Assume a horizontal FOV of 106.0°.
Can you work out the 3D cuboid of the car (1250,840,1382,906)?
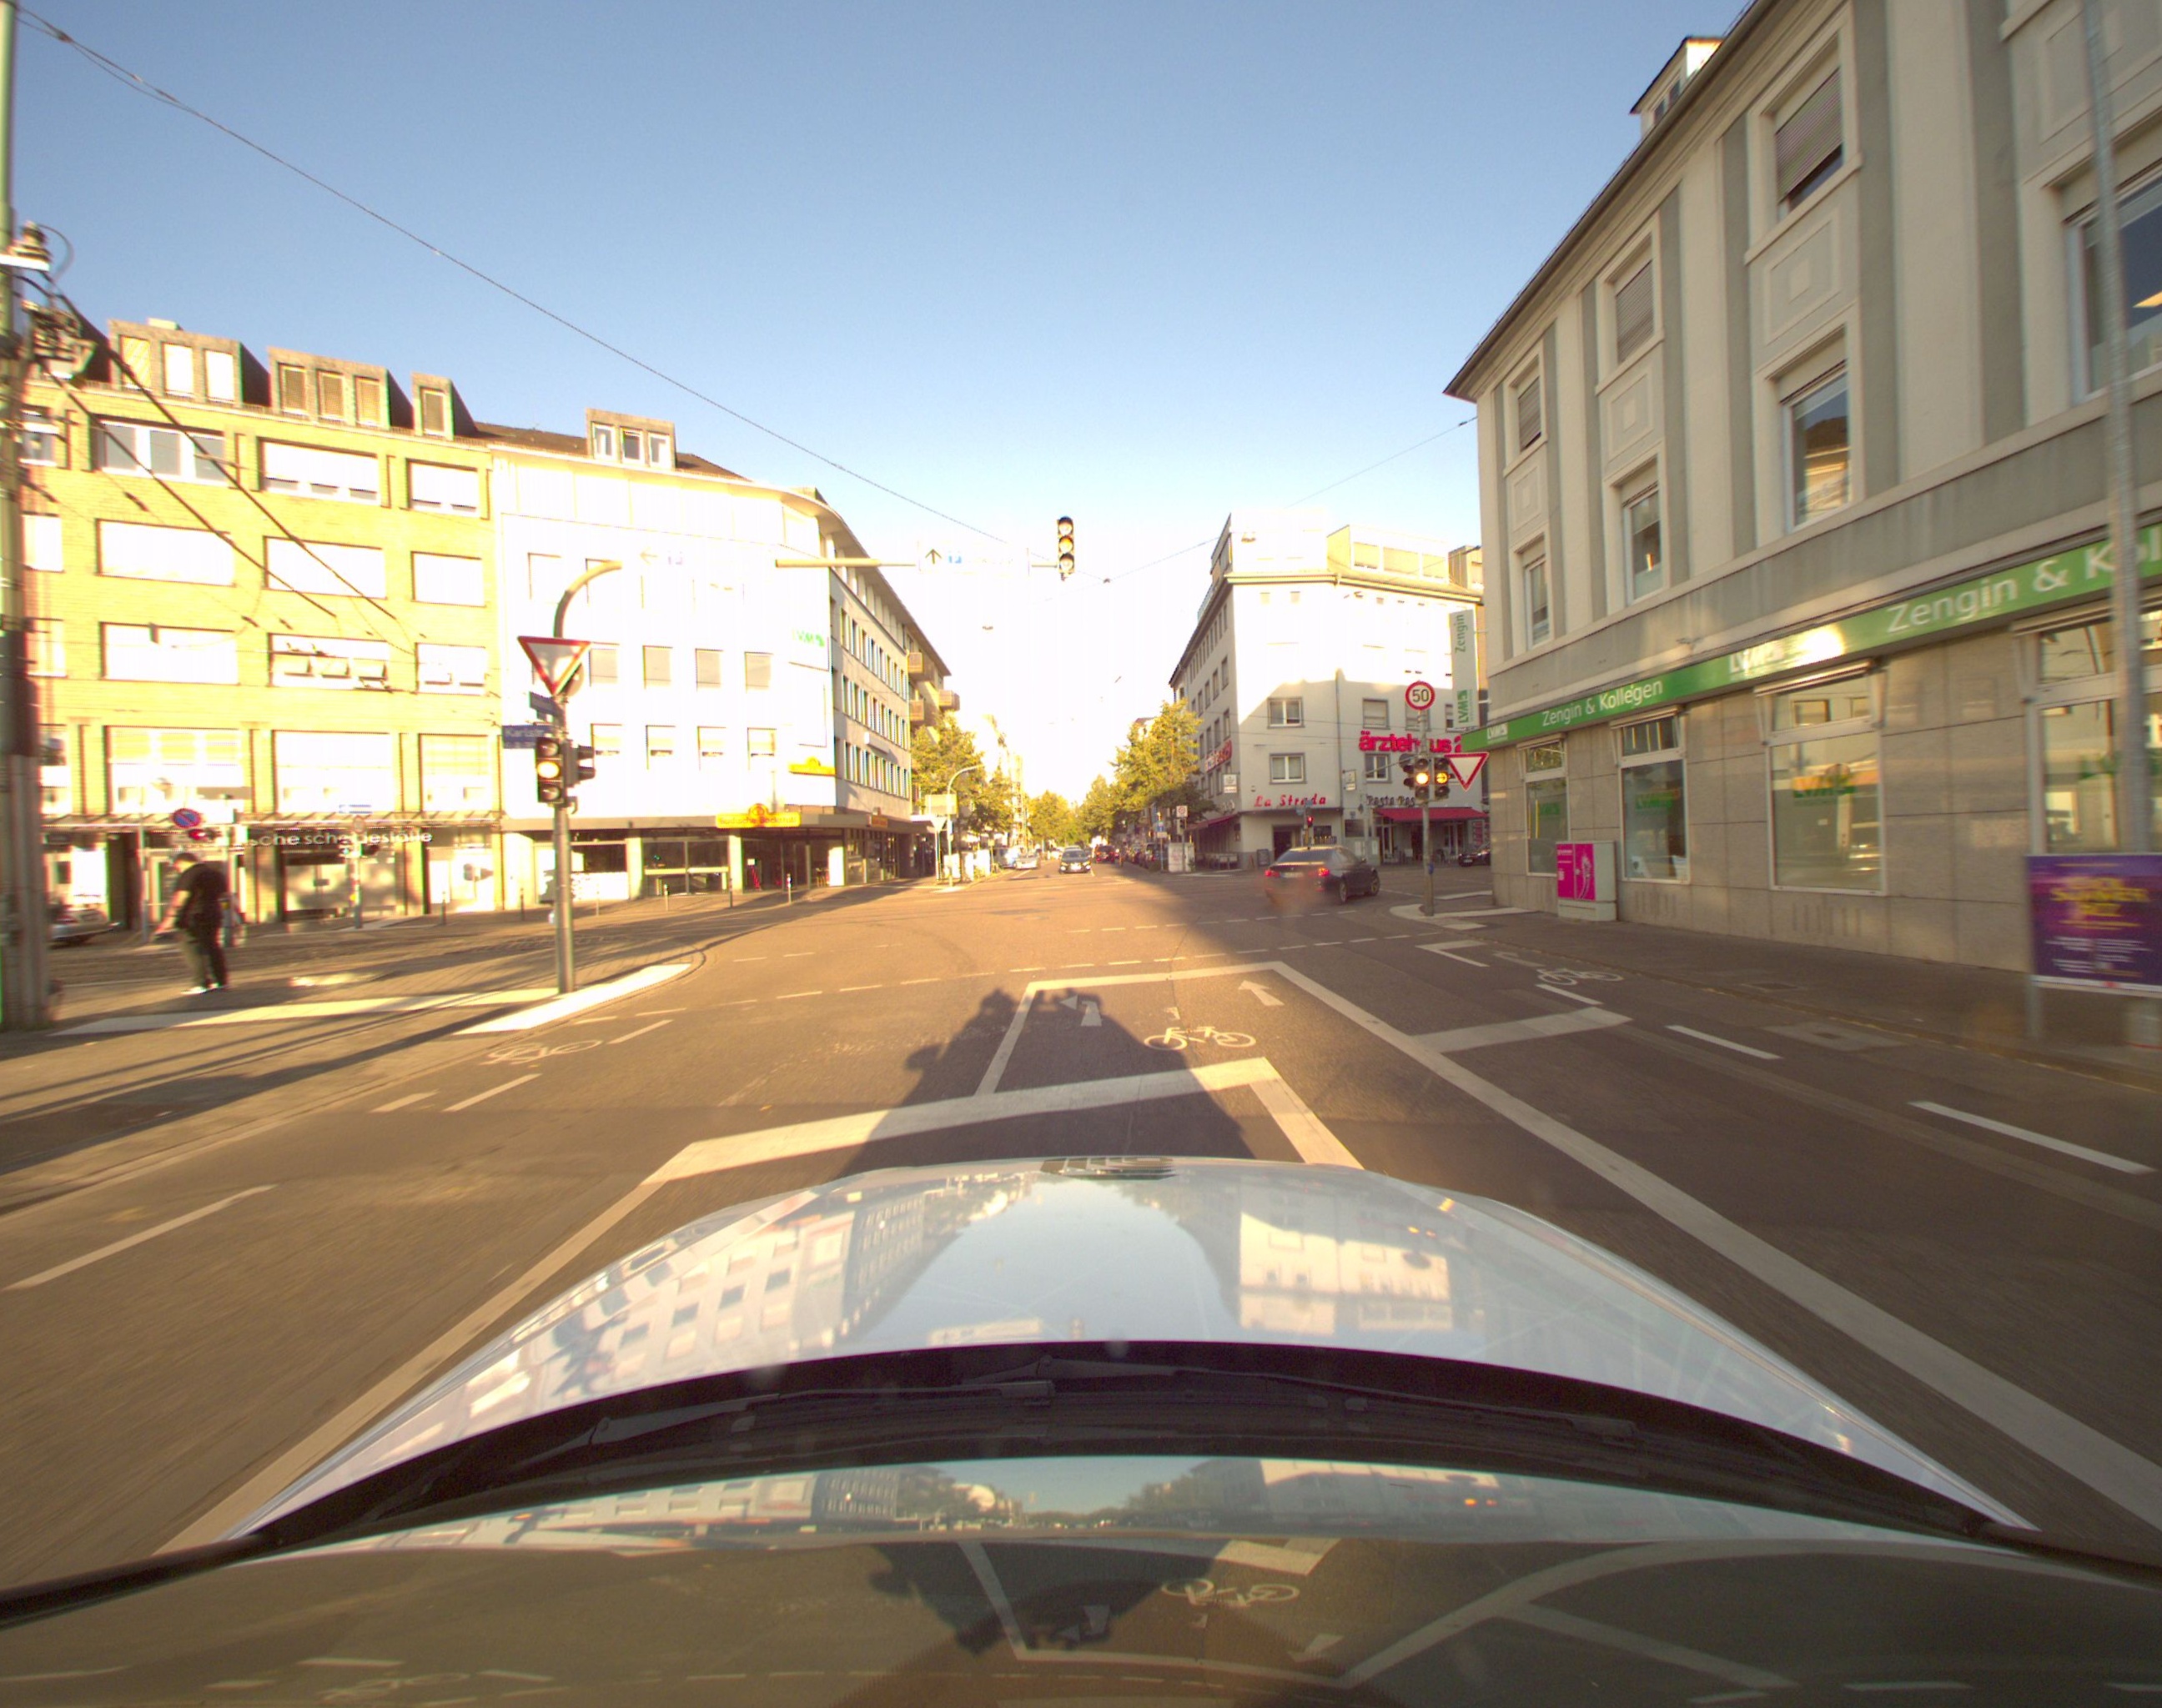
[{"bbox_3d":[6.132,0.408,20.857,1.974,1.420,4.539,-1,1,33],"label":"car"}]

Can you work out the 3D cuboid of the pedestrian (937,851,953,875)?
[{"bbox_3d":[-9.578,0.609,57.367,0.760,1.676,0.747,-2,0,42],"label":"pedestrian"}]

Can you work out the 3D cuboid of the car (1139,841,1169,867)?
[{"bbox_3d":[5.309,-0.015,59.773,1.651,1.778,4.007,-1,1,-3],"label":"car"}]

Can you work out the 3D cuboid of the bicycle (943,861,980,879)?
[{"bbox_3d":[-6.739,0.904,45.874,2.005,0.992,0.490,-1,-1,-5],"label":"bicycle"}]

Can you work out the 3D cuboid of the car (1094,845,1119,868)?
[{"bbox_3d":[1.838,0.190,60.344,1.718,1.549,4.465,-3,-1,0],"label":"car"}]

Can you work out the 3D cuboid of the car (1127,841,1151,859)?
[{"bbox_3d":[5.745,-0.387,81.277,1.878,1.754,5.056,-1,0,-1],"label":"car"}]

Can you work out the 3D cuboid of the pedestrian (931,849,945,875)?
[{"bbox_3d":[-10.217,0.553,58.102,0.738,1.819,0.814,-3,1,2],"label":"pedestrian"}]

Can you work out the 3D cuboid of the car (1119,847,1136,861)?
[{"bbox_3d":[5.555,0.016,96.702,1.806,1.668,4.206,-1,0,0],"label":"car"}]

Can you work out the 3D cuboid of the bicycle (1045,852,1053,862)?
[{"bbox_3d":[-4.525,0.486,114.605,0.844,1.350,3.177,-2,0,-8],"label":"bicycle"}]

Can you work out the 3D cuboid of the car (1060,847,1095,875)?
[{"bbox_3d":[-0.283,0.373,50.355,1.953,1.547,4.506,-2,1,-2],"label":"car"}]

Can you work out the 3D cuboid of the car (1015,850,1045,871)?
[{"bbox_3d":[-4.067,0.536,65.267,1.987,1.511,4.509,-5,0,0],"label":"car"}]

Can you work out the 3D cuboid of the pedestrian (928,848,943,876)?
[{"bbox_3d":[-10.071,0.552,56.437,0.763,1.847,0.745,-2,1,9],"label":"pedestrian"}]

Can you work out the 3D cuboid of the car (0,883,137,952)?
[{"bbox_3d":[-28.012,1.685,21.049,4.302,1.575,1.788,-2,1,-20],"label":"car"}]

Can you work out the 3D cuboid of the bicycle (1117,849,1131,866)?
[{"bbox_3d":[3.245,0.282,61.371,0.779,1.204,2.019,-3,0,-2],"label":"bicycle"}]

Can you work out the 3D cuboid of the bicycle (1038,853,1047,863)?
[{"bbox_3d":[-5.411,0.540,114.459,0.892,1.395,3.157,-2,0,-8],"label":"bicycle"}]

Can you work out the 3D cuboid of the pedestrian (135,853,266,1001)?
[{"bbox_3d":[-11.227,0.886,10.429,0.909,1.784,0.872,0,-1,-30],"label":"pedestrian"}]

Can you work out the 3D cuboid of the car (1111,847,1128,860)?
[{"bbox_3d":[5.134,-0.038,109.594,1.821,1.695,4.364,-1,0,-3],"label":"car"}]

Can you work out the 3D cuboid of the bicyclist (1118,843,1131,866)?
[{"bbox_3d":[3.261,0.026,61.418,0.779,1.696,1.006,-3,-1,-3],"label":"bicyclist"}]

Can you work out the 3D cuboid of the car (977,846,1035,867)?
[{"bbox_3d":[-6.629,0.232,72.500,4.906,1.828,1.976,0,-1,-41],"label":"car"}]

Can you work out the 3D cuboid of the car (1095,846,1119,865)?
[{"bbox_3d":[2.395,0.144,74.042,1.985,1.601,4.514,-1,0,4],"label":"car"}]

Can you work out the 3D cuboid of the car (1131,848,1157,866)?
[{"bbox_3d":[5.246,0.204,67.897,1.747,1.420,4.508,-1,1,-1],"label":"car"}]
